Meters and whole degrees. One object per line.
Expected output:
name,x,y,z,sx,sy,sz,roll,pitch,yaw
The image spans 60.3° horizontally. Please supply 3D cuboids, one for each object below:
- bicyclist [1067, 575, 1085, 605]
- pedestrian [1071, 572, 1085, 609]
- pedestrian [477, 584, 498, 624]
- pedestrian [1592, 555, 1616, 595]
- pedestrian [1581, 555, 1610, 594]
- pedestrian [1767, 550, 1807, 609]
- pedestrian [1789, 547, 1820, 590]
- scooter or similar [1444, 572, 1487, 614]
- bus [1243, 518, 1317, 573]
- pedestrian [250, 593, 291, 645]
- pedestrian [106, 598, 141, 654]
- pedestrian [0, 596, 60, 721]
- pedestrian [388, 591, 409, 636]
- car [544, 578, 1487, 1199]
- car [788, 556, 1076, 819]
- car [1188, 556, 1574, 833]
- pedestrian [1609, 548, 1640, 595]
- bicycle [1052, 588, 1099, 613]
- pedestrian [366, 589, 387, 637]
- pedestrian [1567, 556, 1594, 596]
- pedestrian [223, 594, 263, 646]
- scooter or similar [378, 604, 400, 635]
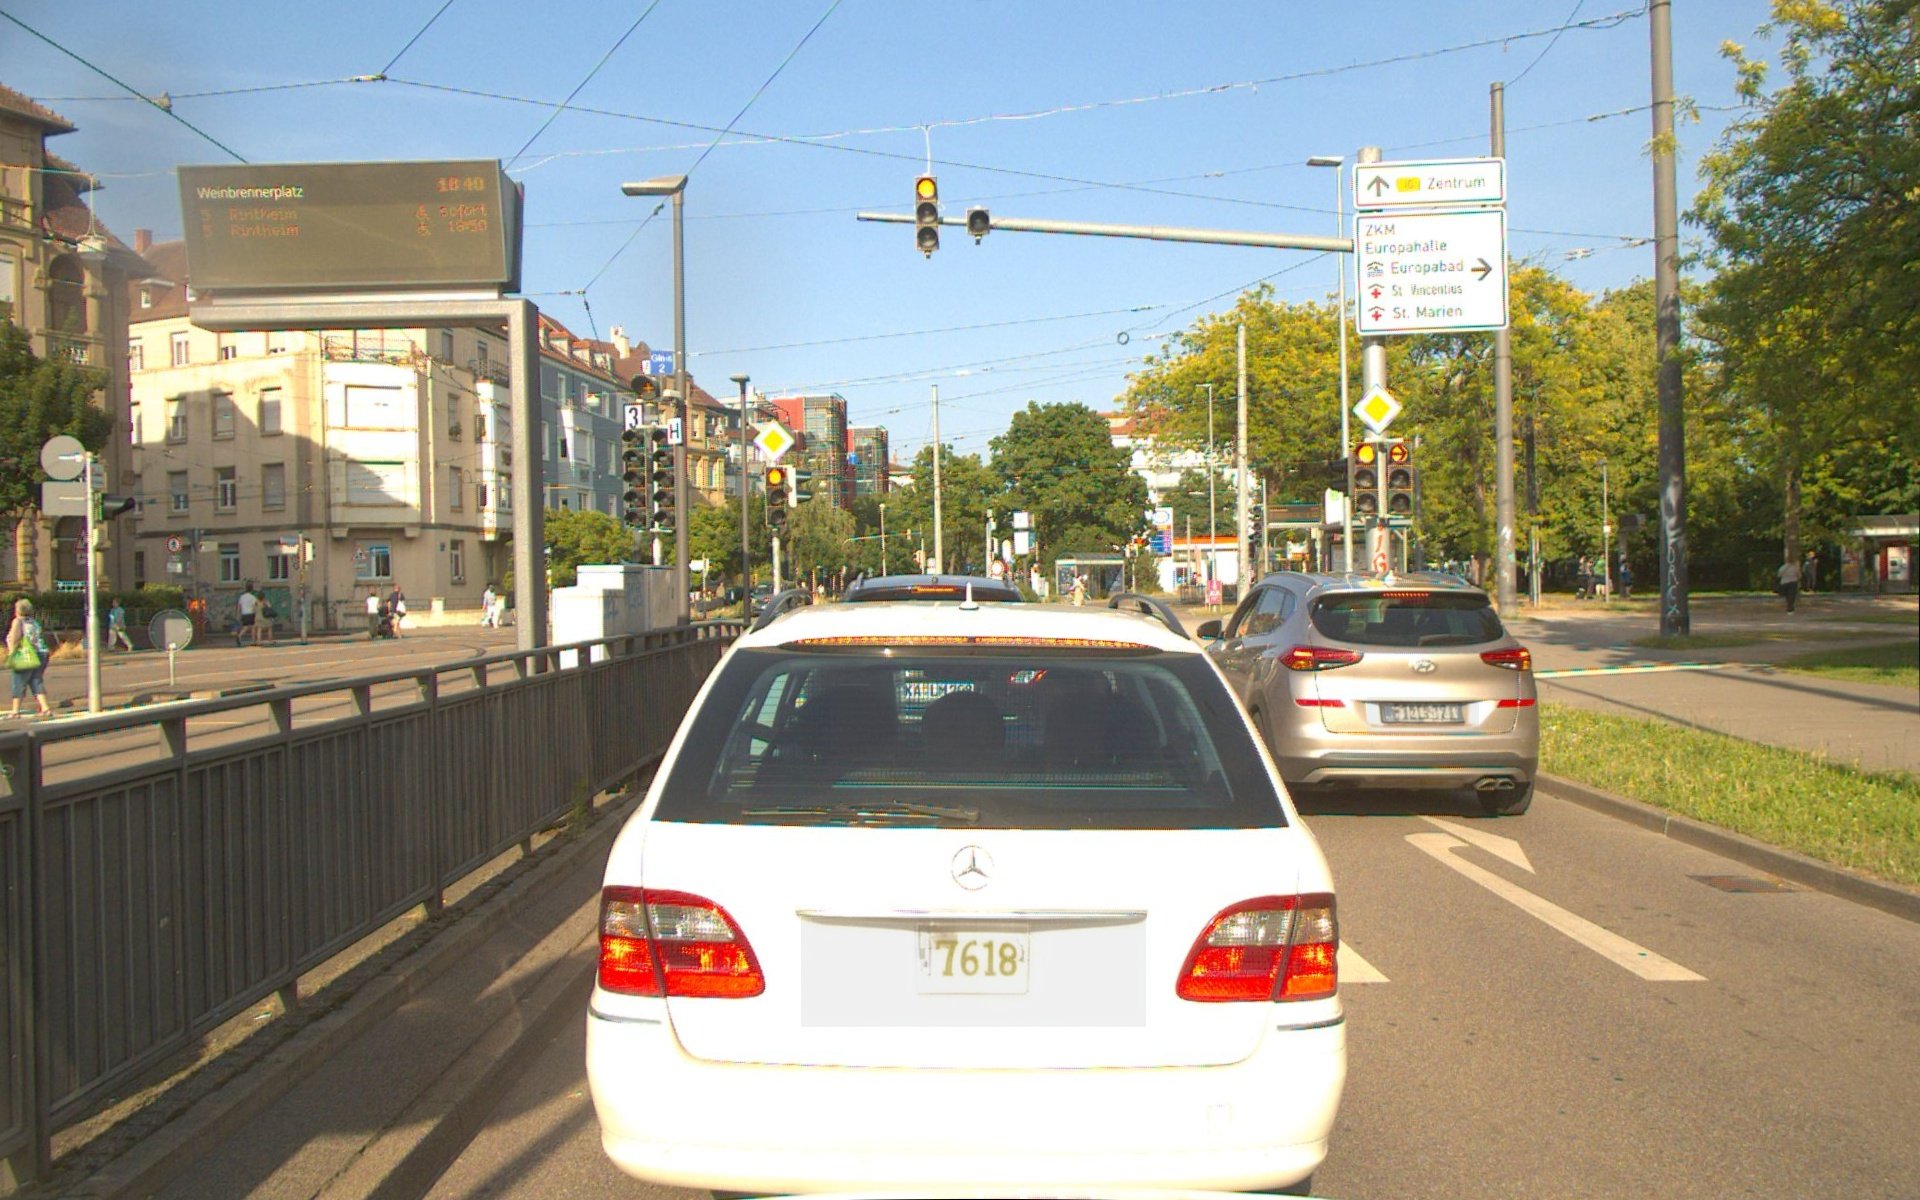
bicyclist,6.088,-0.532,87.030,0.842,1.507,0.790,-1,0,8
pedestrian,6.037,-0.497,84.665,0.628,1.889,0.552,-1,0,11
pedestrian,-20.153,0.159,70.580,0.606,1.689,0.586,-1,0,15
pedestrian,24.608,-0.967,63.243,0.797,1.513,0.700,-1,0,24
pedestrian,24.869,-0.987,64.758,0.799,1.513,0.699,-1,0,-12
pedestrian,23.790,-0.586,47.574,0.748,1.665,0.797,-2,0,-40
pedestrian,33.366,-1.227,65.332,0.818,1.665,0.803,-1,0,5
scooter or similar,13.972,-0.191,45.722,0.413,1.136,1.322,-1,0,-20
bus,24.532,-4.045,126.216,3.045,3.669,12.371,1,0,22
pedestrian,-21.362,0.582,51.245,0.812,1.579,0.782,-1,0,21
pedestrian,-24.138,0.738,47.739,0.616,1.568,0.711,-1,0,-1
pedestrian,-12.528,0.772,22.144,0.601,1.627,0.632,-1,0,-7
pedestrian,-19.581,0.469,57.705,0.428,1.527,0.549,-1,0,14
car,0.072,0.697,4.912,1.759,1.496,3.647,0,0,-1
car,-0.199,0.555,12.574,1.846,1.680,3.647,1,0,-1
car,2.891,0.576,12.187,1.846,1.680,3.647,-2,0,-1
pedestrian,25.887,-1.117,64.418,0.784,1.816,0.838,-1,0,-5
bicycle,6.074,0.019,87.051,2.430,1.234,0.807,-1,0,7
pedestrian,-20.389,0.458,57.802,0.497,1.654,0.608,-1,0,0
pedestrian,24.061,-0.921,64.138,0.809,1.513,0.690,-2,0,-42
pedestrian,-22.235,0.625,51.306,0.812,1.579,0.782,-1,0,21
scooter or similar,-20.212,0.697,58.599,0.532,1.098,0.683,1,0,-1
